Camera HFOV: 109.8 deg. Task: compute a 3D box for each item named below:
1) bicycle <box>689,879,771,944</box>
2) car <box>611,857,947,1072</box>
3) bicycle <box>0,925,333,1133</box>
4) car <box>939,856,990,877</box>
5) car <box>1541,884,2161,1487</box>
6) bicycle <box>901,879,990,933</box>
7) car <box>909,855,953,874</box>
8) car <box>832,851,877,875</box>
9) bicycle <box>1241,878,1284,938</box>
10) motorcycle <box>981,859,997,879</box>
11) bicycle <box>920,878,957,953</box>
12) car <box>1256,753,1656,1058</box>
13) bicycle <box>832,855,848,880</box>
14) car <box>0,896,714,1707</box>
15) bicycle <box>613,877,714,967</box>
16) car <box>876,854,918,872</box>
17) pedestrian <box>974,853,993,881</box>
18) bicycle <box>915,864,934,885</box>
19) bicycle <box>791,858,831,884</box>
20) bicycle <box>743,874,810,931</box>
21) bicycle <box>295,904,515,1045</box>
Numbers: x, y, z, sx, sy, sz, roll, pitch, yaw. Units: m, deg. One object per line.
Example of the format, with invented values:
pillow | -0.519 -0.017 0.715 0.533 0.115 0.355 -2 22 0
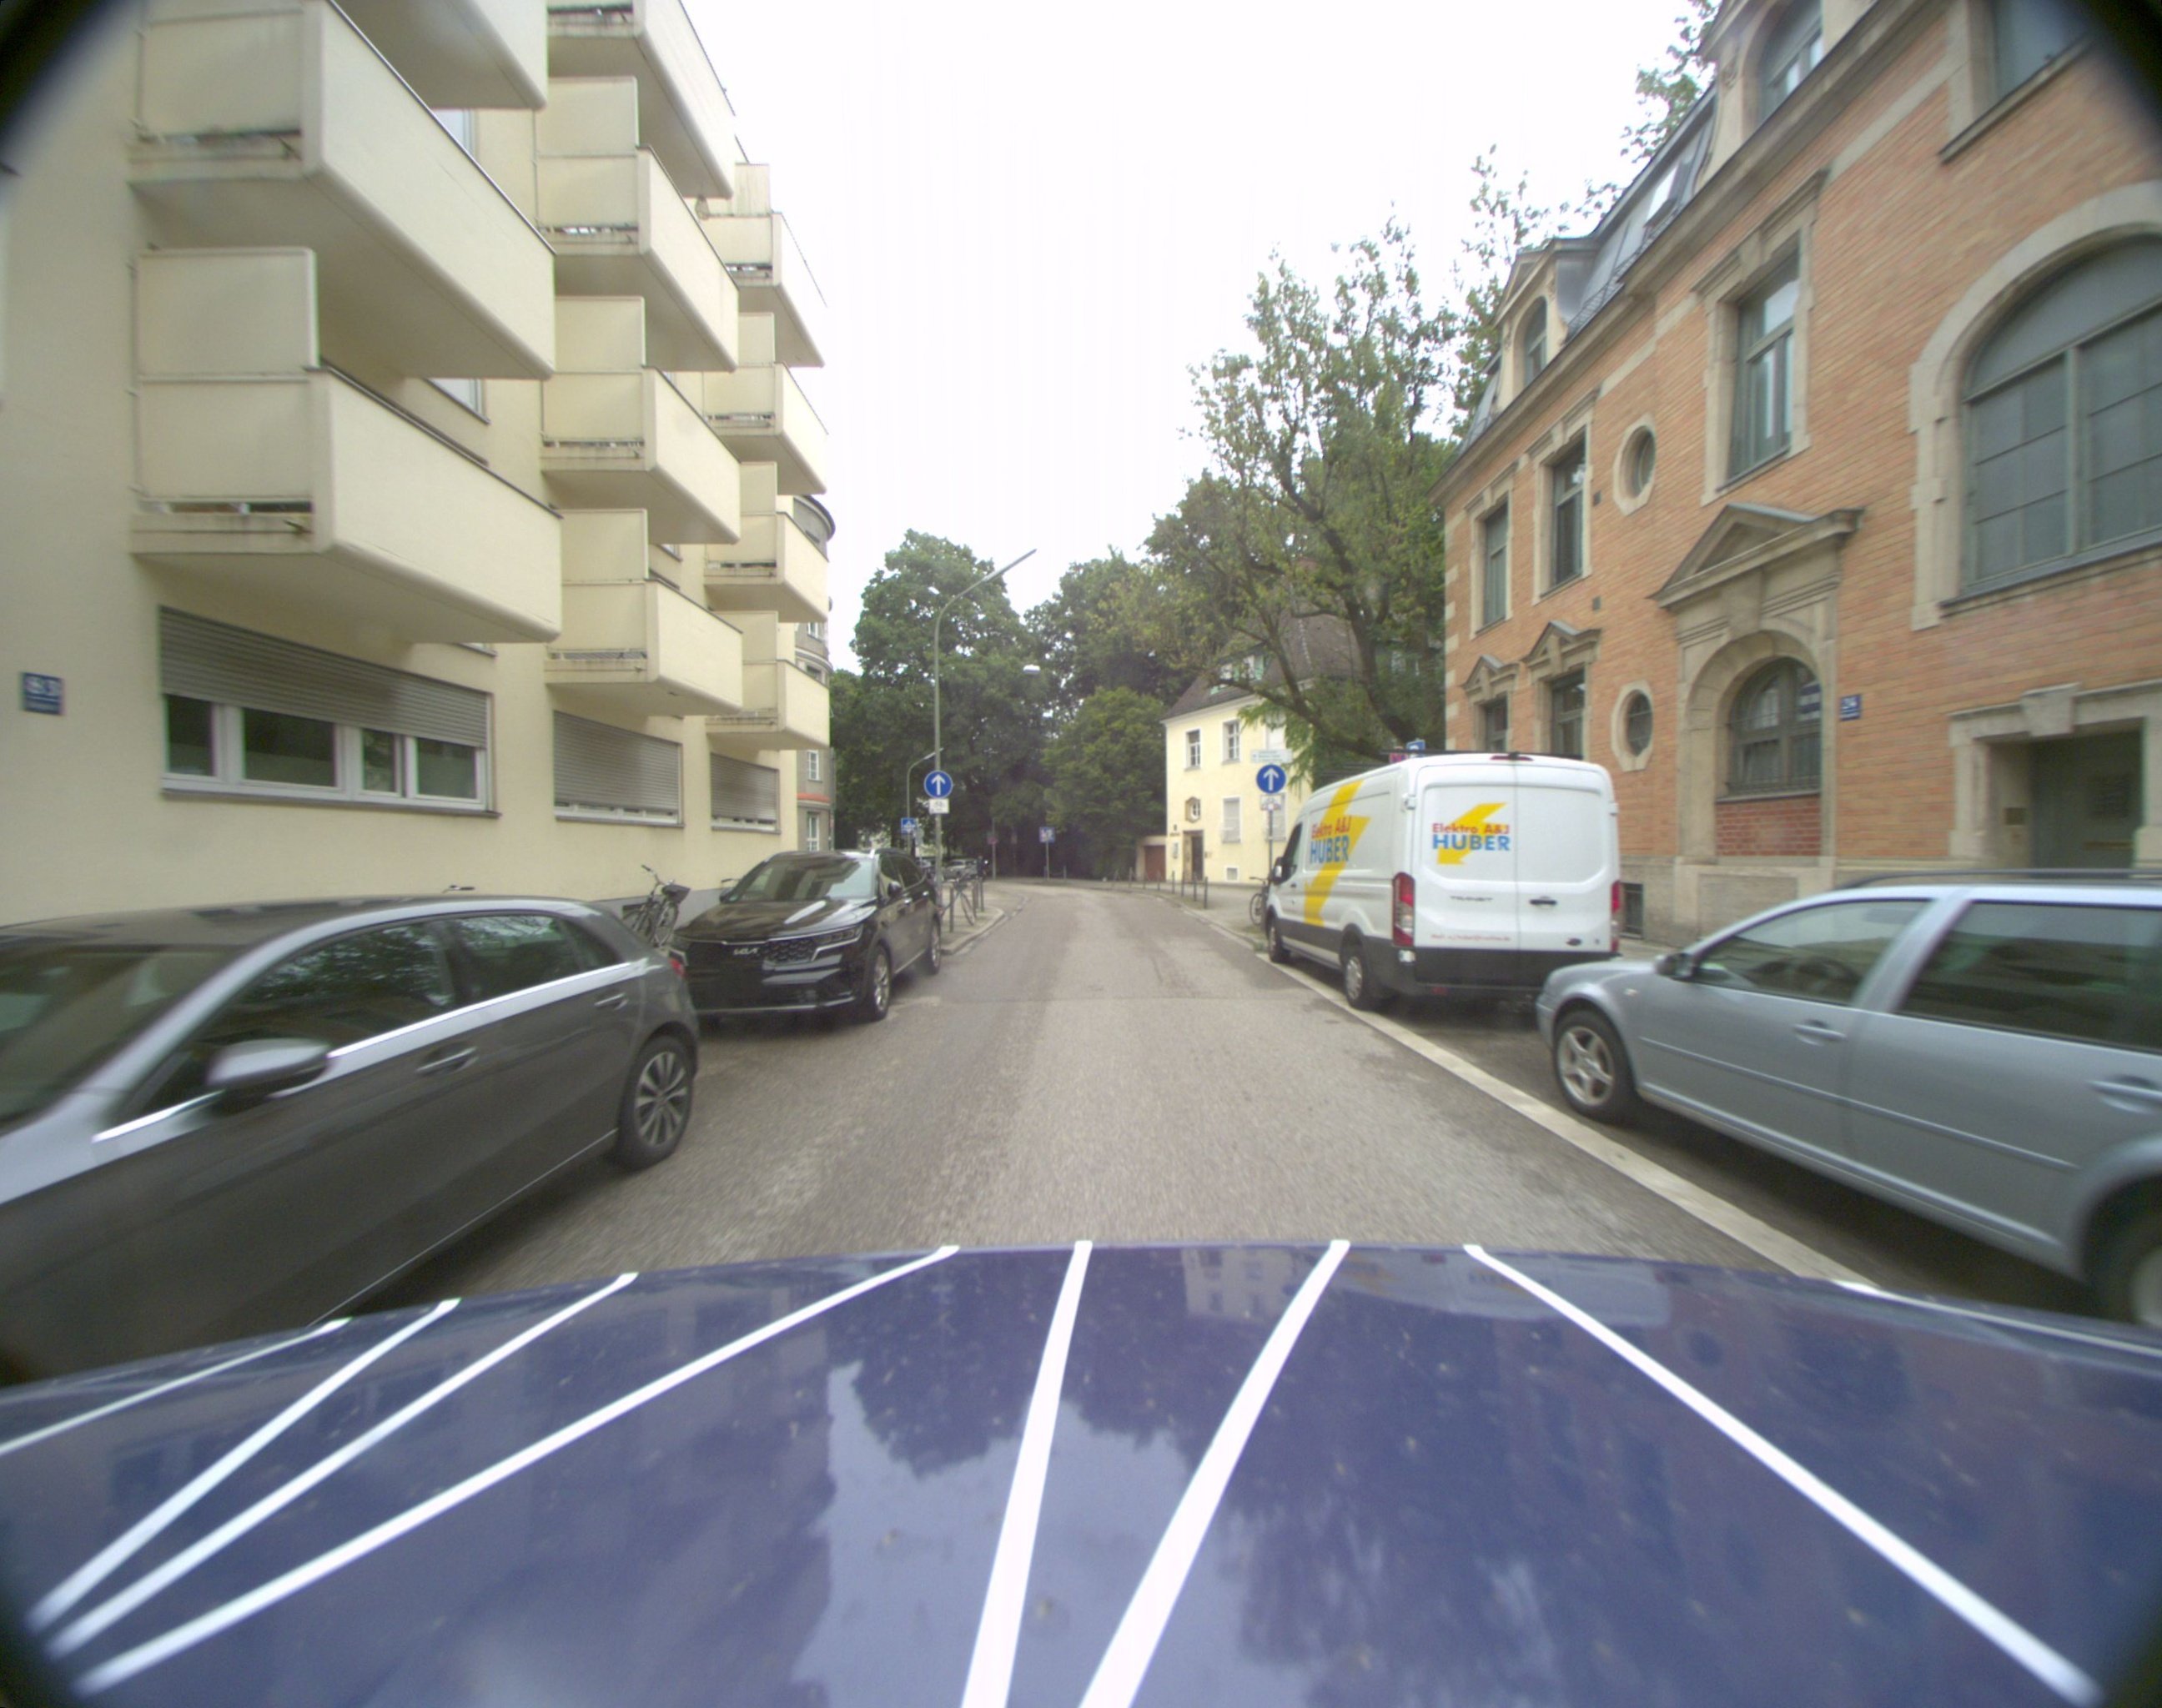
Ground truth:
bicycle | -6.466 1.030 14.111 0.581 1.048 1.763 0 1 4
car | -2.811 0.898 8.349 1.854 1.629 4.549 0 1 0
bicycle | -6.444 1.127 5.398 0.581 1.048 1.761 0 1 -4
car | -8.548 0.862 55.387 1.628 1.440 4.423 -2 1 -40
car | 3.700 0.951 2.704 1.693 1.446 3.996 2 1 1
bicycle | -2.946 1.104 16.508 1.764 1.059 0.774 -1 1 -22
car | -11.889 0.806 59.978 1.628 1.440 4.423 -2 1 -36
car | -20.142 0.786 67.357 2.050 2.029 4.944 -2 1 -39
bicycle | 3.634 1.051 15.323 0.581 1.048 1.763 0 1 4
motorcycle | -6.137 0.981 50.658 0.859 1.177 2.004 -4 2 -9
bicycle | -2.545 1.037 13.447 0.581 1.147 1.960 0 1 -12
car | 3.678 0.387 8.940 1.997 2.454 5.470 1 1 1
bicycle | -13.864 0.764 43.696 0.739 1.405 1.922 -1 1 -21
car | -3.044 1.026 2.224 1.732 1.451 4.415 -2 1 0
bicycle | -6.357 0.987 11.678 0.689 1.199 1.761 0 1 -5
car | -15.710 0.760 64.668 1.628 1.440 4.423 -2 1 -40
pedestrian | -5.866 0.772 45.657 0.811 1.632 0.728 1 2 33
bicycle | -8.311 1.074 40.396 0.511 1.004 2.008 0 1 3
bicycle | -13.836 0.851 38.988 0.736 1.249 1.929 0 1 26
bicycle | -6.363 0.987 15.990 0.581 1.048 1.763 0 1 4
bicycle | -6.438 1.086 7.391 0.581 1.048 1.836 0 1 -4
